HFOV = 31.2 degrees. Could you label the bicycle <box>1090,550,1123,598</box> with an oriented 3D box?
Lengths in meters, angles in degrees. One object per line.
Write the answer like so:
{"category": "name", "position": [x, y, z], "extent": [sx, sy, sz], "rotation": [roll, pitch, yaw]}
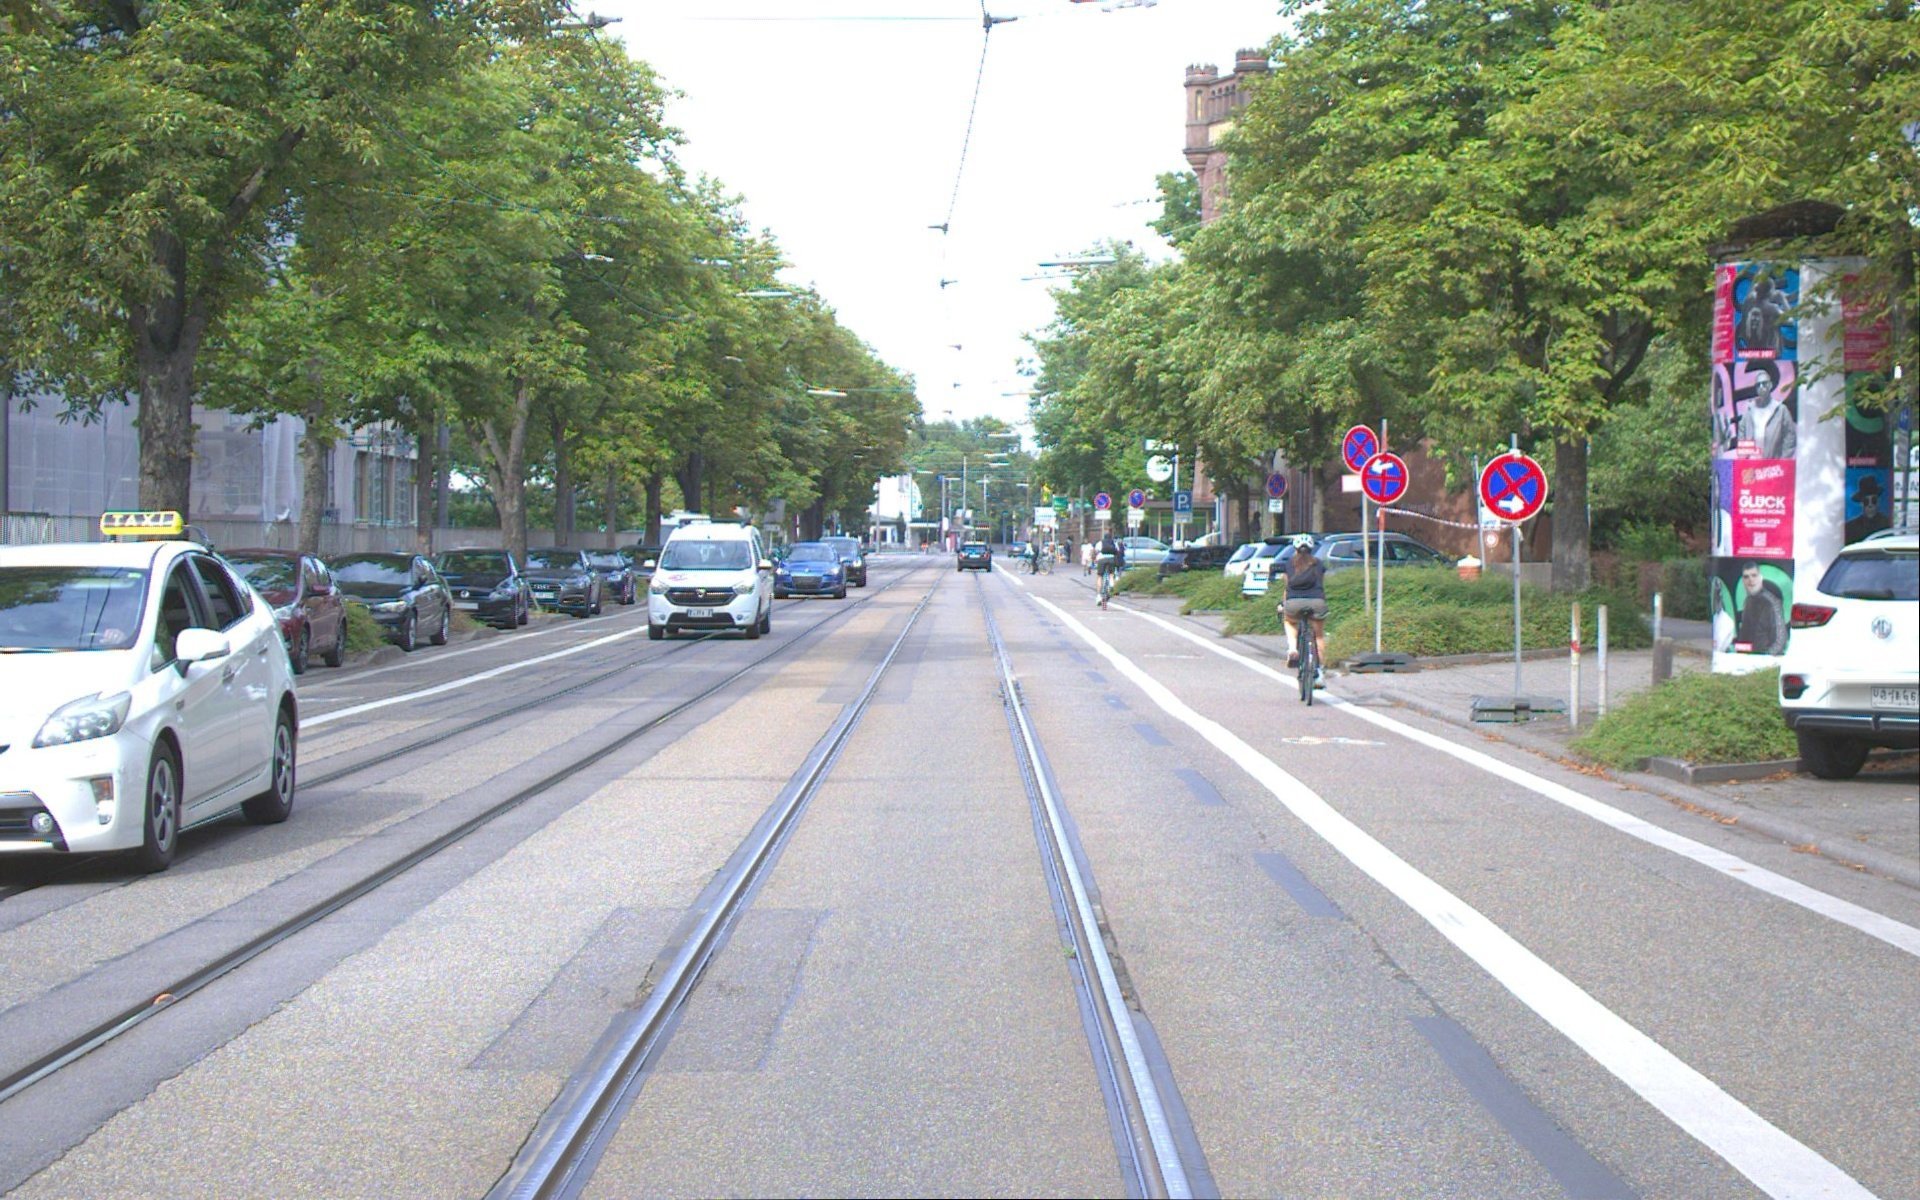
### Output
{"category": "bicycle", "position": [3.256, -0.591, 76.364], "extent": [0.663, 1.040, 1.841], "rotation": [1, 1, 1]}

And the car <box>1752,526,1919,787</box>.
{"category": "car", "position": [6.919, 0.338, 22.548], "extent": [1.681, 1.597, 3.637], "rotation": [1, 1, 45]}

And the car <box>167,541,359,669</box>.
{"category": "car", "position": [-8.644, 0.028, 42.912], "extent": [1.635, 1.491, 3.963], "rotation": [1, 1, -1]}

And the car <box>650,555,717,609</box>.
{"category": "car", "position": [-7.470, -0.512, 93.138], "extent": [1.590, 1.398, 3.963], "rotation": [1, 1, -2]}

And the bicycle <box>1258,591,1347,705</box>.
{"category": "bicycle", "position": [3.352, 0.454, 33.761], "extent": [0.592, 1.040, 1.978], "rotation": [1, 1, -2]}

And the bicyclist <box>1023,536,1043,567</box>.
{"category": "bicyclist", "position": [3.557, -2.372, 167.290], "extent": [0.847, 1.499, 0.768], "rotation": [1, 1, 7]}

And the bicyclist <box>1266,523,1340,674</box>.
{"category": "bicyclist", "position": [3.362, -0.026, 33.760], "extent": [0.592, 1.454, 0.875], "rotation": [1, 1, -2]}

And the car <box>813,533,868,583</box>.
{"category": "car", "position": [-3.961, -1.413, 114.597], "extent": [1.732, 1.623, 4.378], "rotation": [-1, 1, -1]}

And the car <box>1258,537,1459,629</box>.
{"category": "car", "position": [7.155, -0.314, 61.590], "extent": [1.681, 1.597, 3.637], "rotation": [1, 1, 45]}

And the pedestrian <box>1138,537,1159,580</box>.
{"category": "pedestrian", "position": [7.928, -1.753, 144.571], "extent": [0.748, 1.783, 0.730], "rotation": [1, 0, 15]}

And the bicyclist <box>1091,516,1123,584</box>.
{"category": "bicyclist", "position": [3.267, -1.112, 76.360], "extent": [0.659, 1.491, 0.929], "rotation": [1, 1, 1]}

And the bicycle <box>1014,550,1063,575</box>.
{"category": "bicycle", "position": [3.815, -1.844, 167.264], "extent": [2.275, 1.185, 0.768], "rotation": [1, 1, 8]}

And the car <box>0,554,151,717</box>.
{"category": "car", "position": [-8.799, 0.286, 32.255], "extent": [1.590, 1.398, 3.963], "rotation": [1, 1, -2]}

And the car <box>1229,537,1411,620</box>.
{"category": "car", "position": [7.177, -0.433, 68.387], "extent": [1.681, 1.597, 3.637], "rotation": [1, 1, 45]}

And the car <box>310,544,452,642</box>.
{"category": "car", "position": [-8.732, -0.129, 52.112], "extent": [1.590, 1.398, 3.963], "rotation": [1, 1, -2]}

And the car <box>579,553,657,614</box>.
{"category": "car", "position": [-8.225, -0.423, 82.944], "extent": [1.590, 1.398, 3.963], "rotation": [1, 1, -2]}

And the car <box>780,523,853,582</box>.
{"category": "car", "position": [-3.726, -1.262, 89.819], "extent": [1.732, 1.491, 4.378], "rotation": [0, 1, 0]}

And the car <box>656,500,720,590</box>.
{"category": "car", "position": [-8.399, -1.700, 106.482], "extent": [1.720, 2.695, 5.471], "rotation": [1, 1, -2]}

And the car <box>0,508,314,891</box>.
{"category": "car", "position": [-4.399, 0.377, 16.605], "extent": [1.732, 1.607, 4.334], "rotation": [0, 1, 0]}

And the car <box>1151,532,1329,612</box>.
{"category": "car", "position": [5.768, -0.570, 70.534], "extent": [1.681, 1.597, 3.637], "rotation": [1, 1, 45]}

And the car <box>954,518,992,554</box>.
{"category": "car", "position": [0.651, -3.271, 175.271], "extent": [1.795, 1.817, 4.679], "rotation": [1, 1, -1]}

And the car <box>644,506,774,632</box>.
{"category": "car", "position": [-3.917, -0.513, 54.220], "extent": [1.732, 1.878, 4.378], "rotation": [1, 1, 0]}

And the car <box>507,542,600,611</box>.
{"category": "car", "position": [-8.572, -0.517, 72.721], "extent": [1.590, 1.398, 3.963], "rotation": [1, 1, -2]}

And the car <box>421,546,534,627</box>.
{"category": "car", "position": [-8.728, -0.270, 62.424], "extent": [1.590, 1.398, 3.963], "rotation": [1, 1, -2]}

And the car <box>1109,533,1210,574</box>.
{"category": "car", "position": [8.382, -1.961, 144.746], "extent": [3.986, 1.687, 2.000], "rotation": [1, 1, -5]}
